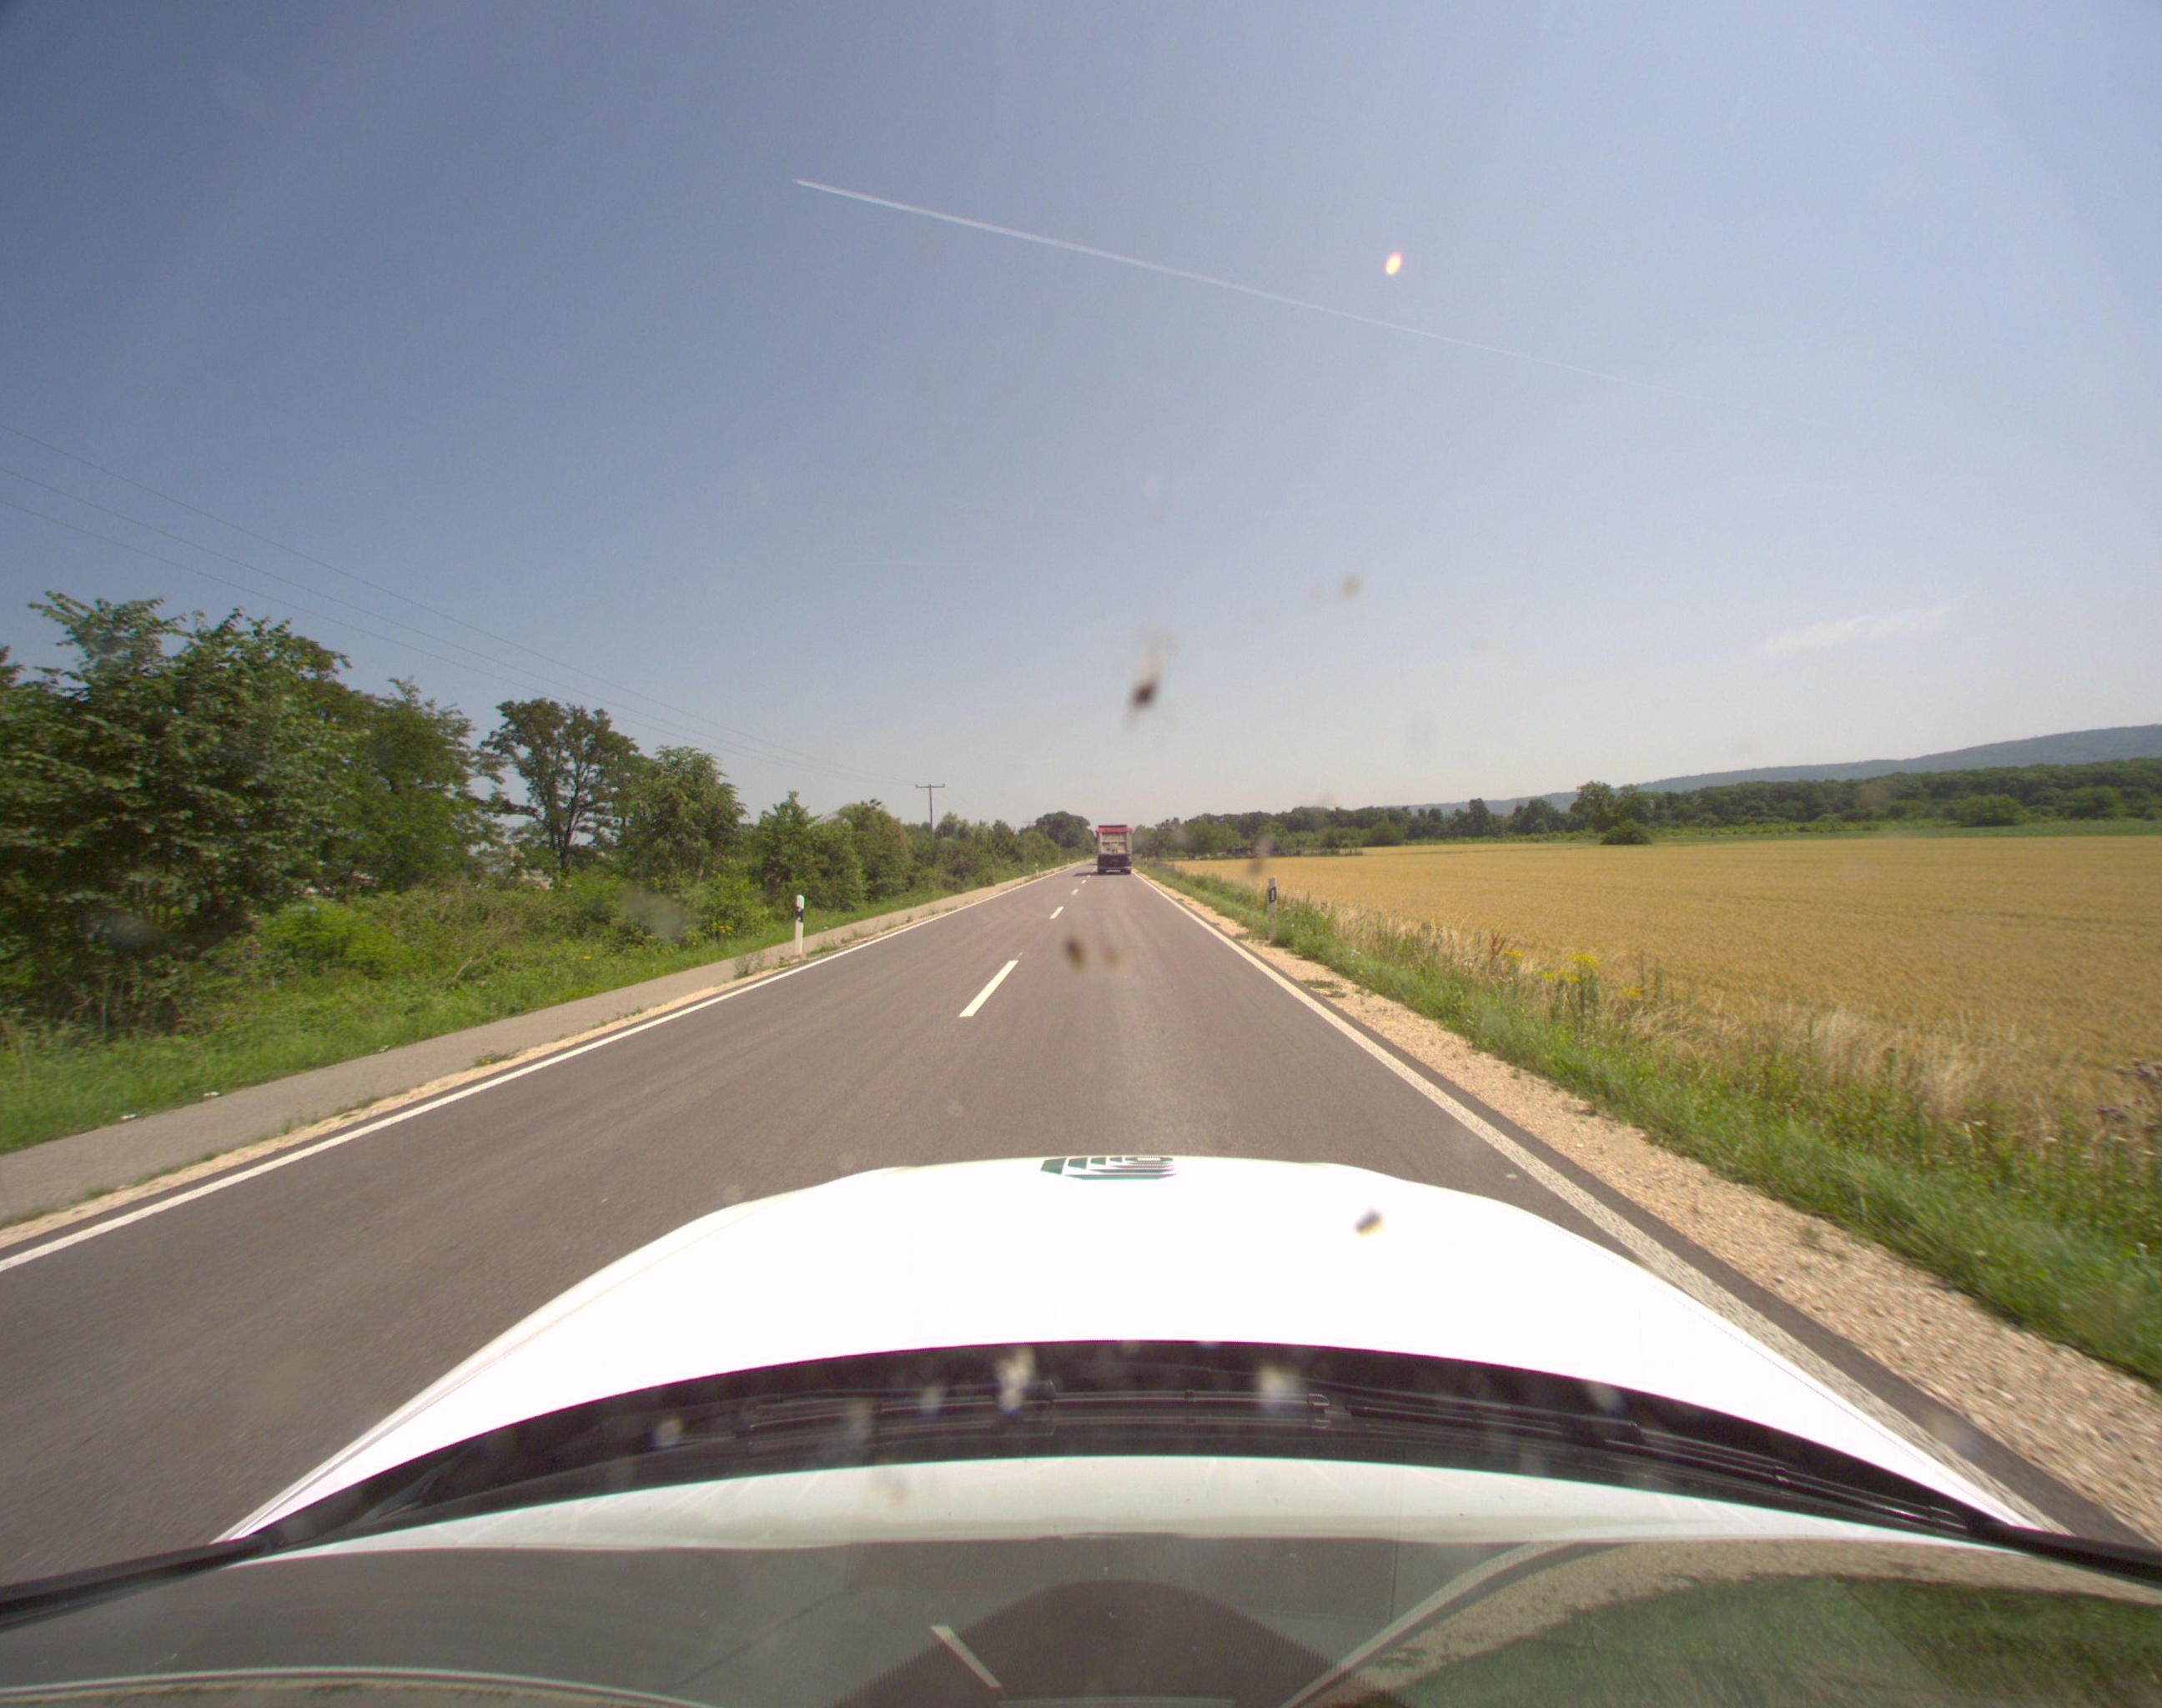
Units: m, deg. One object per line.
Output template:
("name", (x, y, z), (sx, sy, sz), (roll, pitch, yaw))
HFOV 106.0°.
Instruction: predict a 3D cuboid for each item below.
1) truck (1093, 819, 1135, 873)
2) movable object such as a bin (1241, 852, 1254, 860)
("truck", (2.520, -0.515, 64.062), (2.998, 3.874, 12.213), (0, 0, 2))
("movable object such as a bin", (32.202, 0.324, 157.356), (1.567, 1.496, 3.655), (-2, 0, -3))
